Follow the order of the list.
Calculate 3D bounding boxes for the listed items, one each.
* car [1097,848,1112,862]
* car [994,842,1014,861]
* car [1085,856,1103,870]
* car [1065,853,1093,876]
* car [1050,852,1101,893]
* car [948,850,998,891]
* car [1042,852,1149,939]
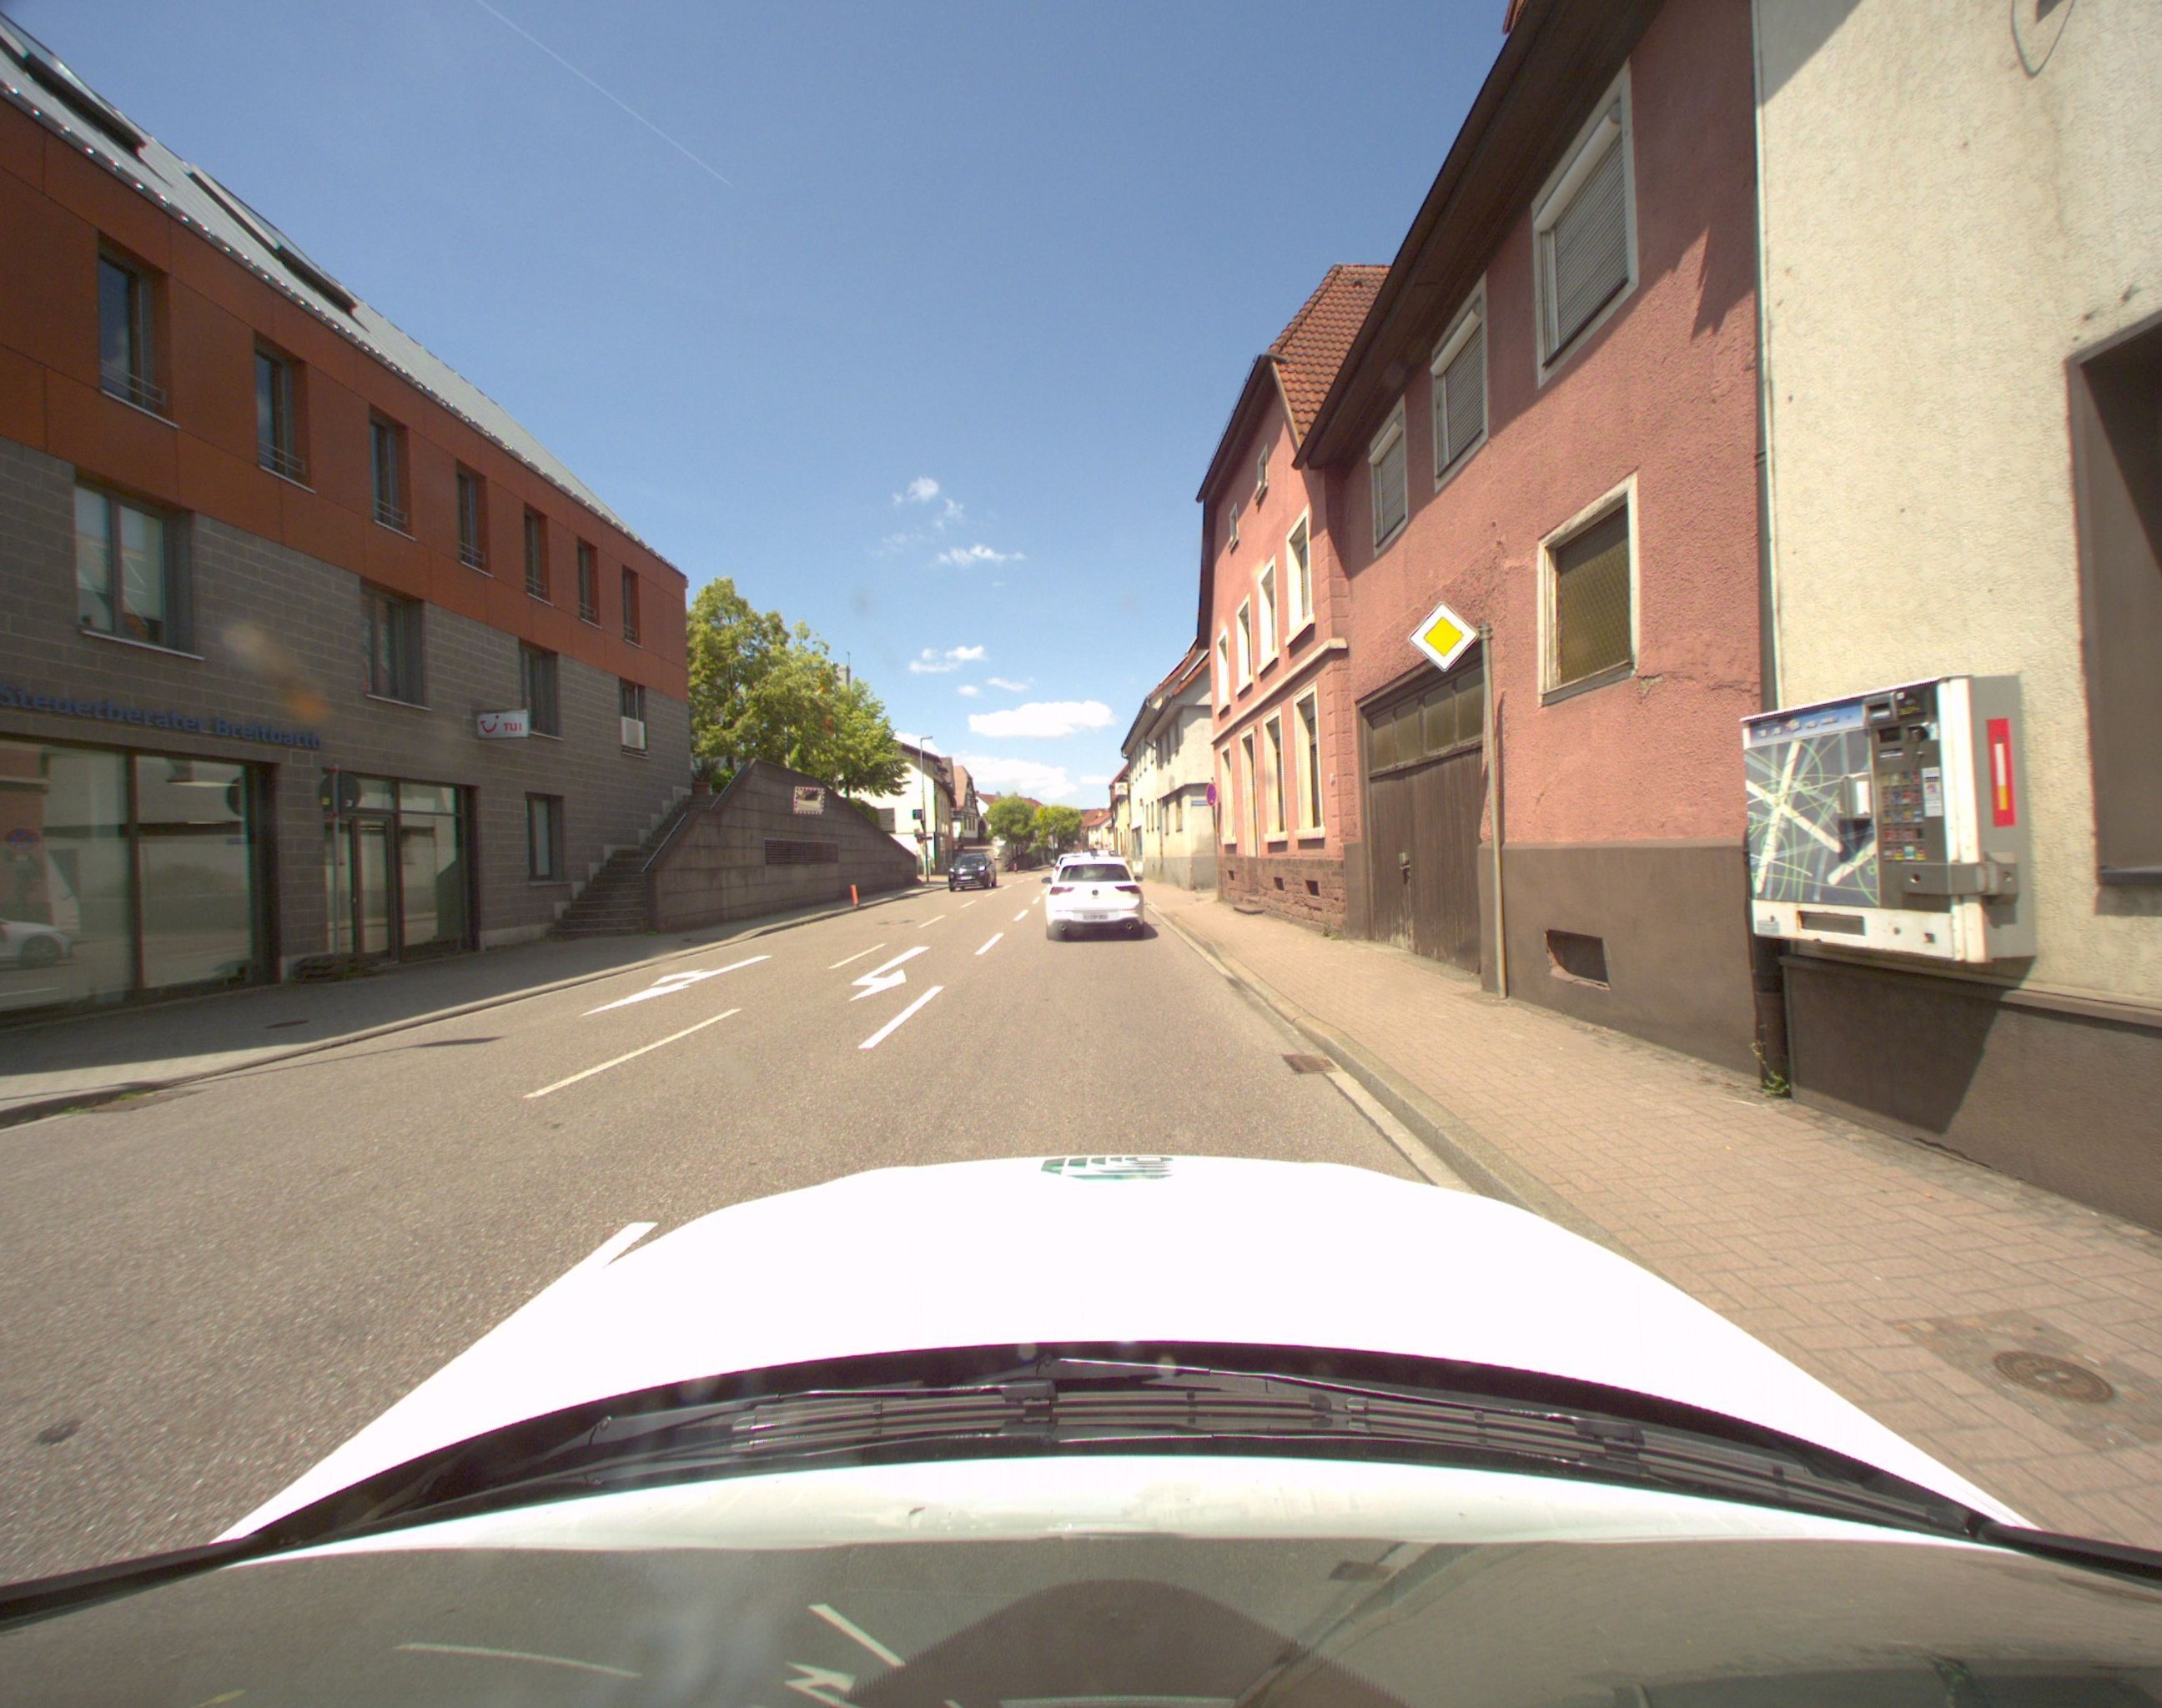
[{"bbox_3d":[3.179,0.119,109.852,1.766,1.765,4.007,-2,0,6],"label":"car"},{"bbox_3d":[-7.909,-0.310,84.166,1.688,1.542,3.856,-2,6,-1],"label":"car"},{"bbox_3d":[1.522,1.019,94.532,1.767,1.538,4.006,-2,0,5],"label":"car"},{"bbox_3d":[-0.140,0.696,55.030,1.802,1.467,3.998,0,0,-1],"label":"car"},{"bbox_3d":[-0.254,0.663,30.964,1.803,1.467,3.997,0,0,-2],"label":"car"},{"bbox_3d":[-4.796,0.706,36.656,1.665,1.657,4.016,-4,0,-1],"label":"car"},{"bbox_3d":[0.403,0.715,15.751,1.799,1.467,4.005,0,0,4],"label":"car"}]
